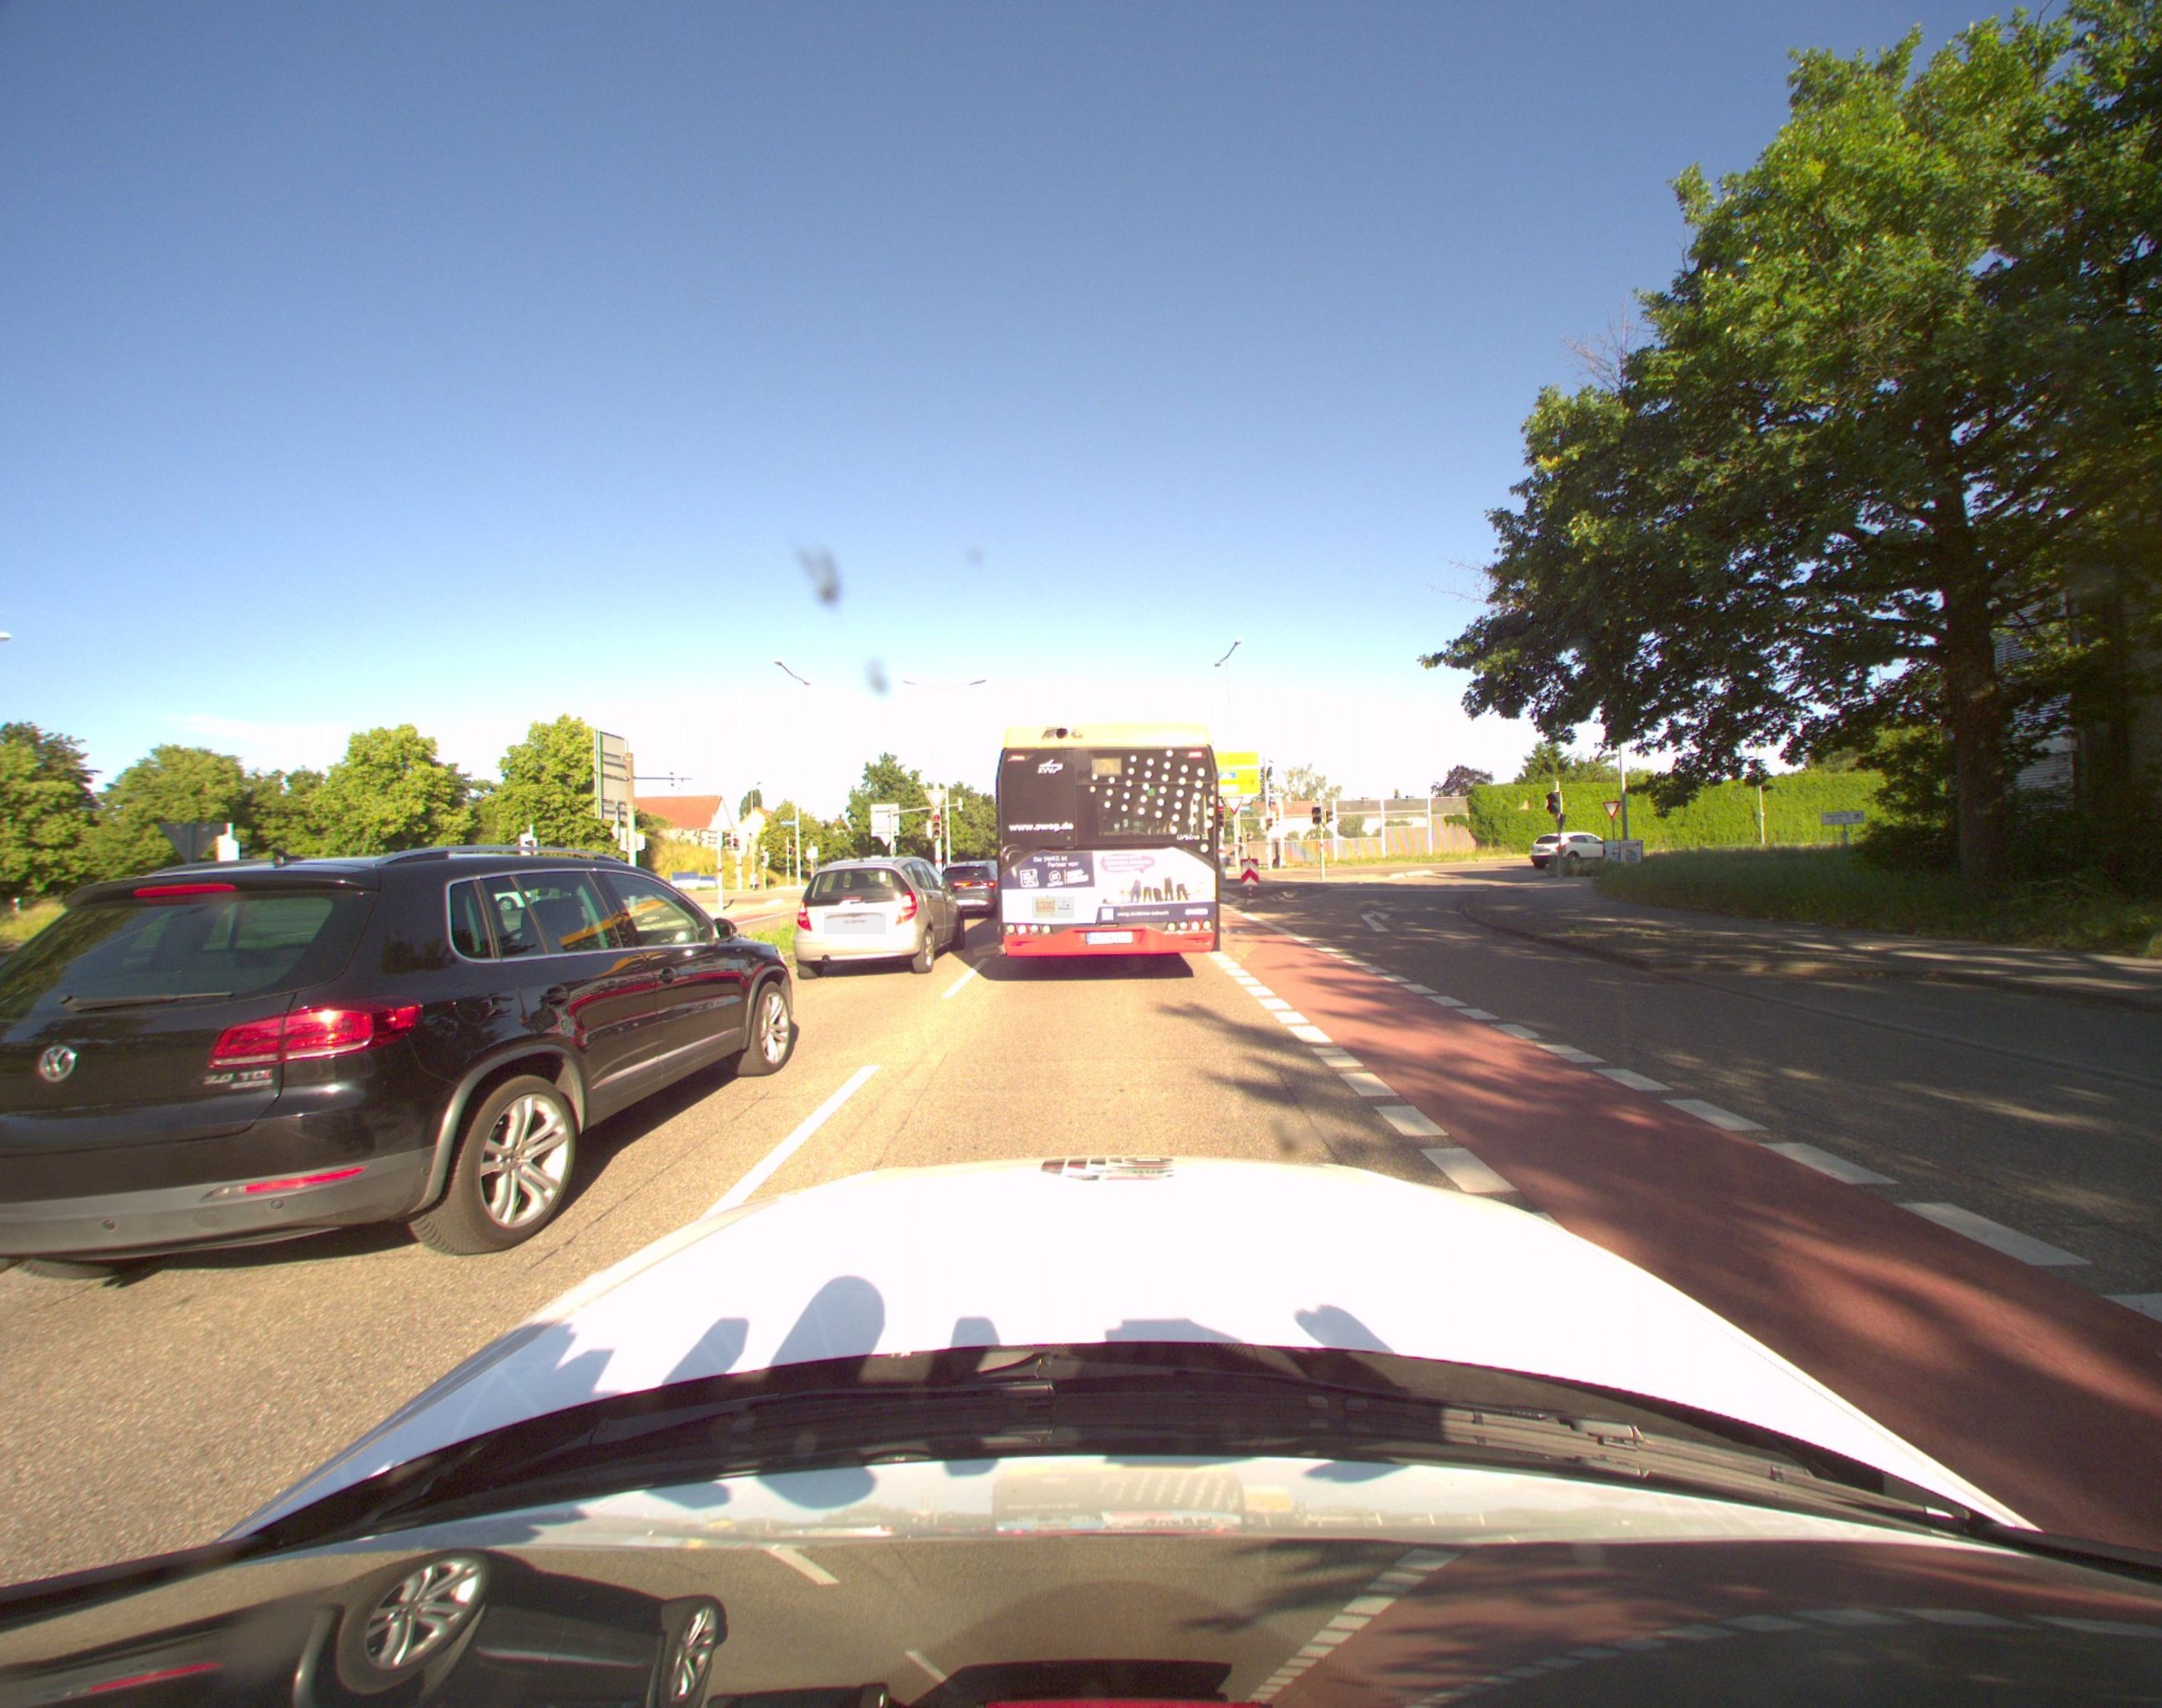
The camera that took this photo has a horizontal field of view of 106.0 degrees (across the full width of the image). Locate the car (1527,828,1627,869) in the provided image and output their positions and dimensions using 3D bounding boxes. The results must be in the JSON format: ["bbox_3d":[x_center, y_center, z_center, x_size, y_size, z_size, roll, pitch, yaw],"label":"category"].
[{"bbox_3d":[22.124,-0.272,36.335,4.071,1.607,1.710,-3,1,-22],"label":"car"}]

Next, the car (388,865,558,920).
[{"bbox_3d":[-25.630,1.586,34.506,5.375,2.118,2.178,-1,-1,-4],"label":"car"}]

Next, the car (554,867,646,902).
[{"bbox_3d":[-24.571,1.535,41.678,3.577,1.560,1.747,-2,0,-5],"label":"car"}]

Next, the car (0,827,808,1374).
[{"bbox_3d":[-3.171,0.796,4.560,1.766,1.653,4.001,-3,0,1],"label":"car"}]

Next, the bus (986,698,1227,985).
[{"bbox_3d":[0.523,-0.168,15.024,2.632,3.167,11.867,-1,0,2],"label":"bus"}]

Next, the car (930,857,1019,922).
[{"bbox_3d":[-2.688,0.853,21.320,1.686,1.458,3.751,-3,0,1],"label":"car"}]

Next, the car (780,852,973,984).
[{"bbox_3d":[-2.875,0.821,12.386,1.755,1.589,4.001,-3,0,1],"label":"car"}]
